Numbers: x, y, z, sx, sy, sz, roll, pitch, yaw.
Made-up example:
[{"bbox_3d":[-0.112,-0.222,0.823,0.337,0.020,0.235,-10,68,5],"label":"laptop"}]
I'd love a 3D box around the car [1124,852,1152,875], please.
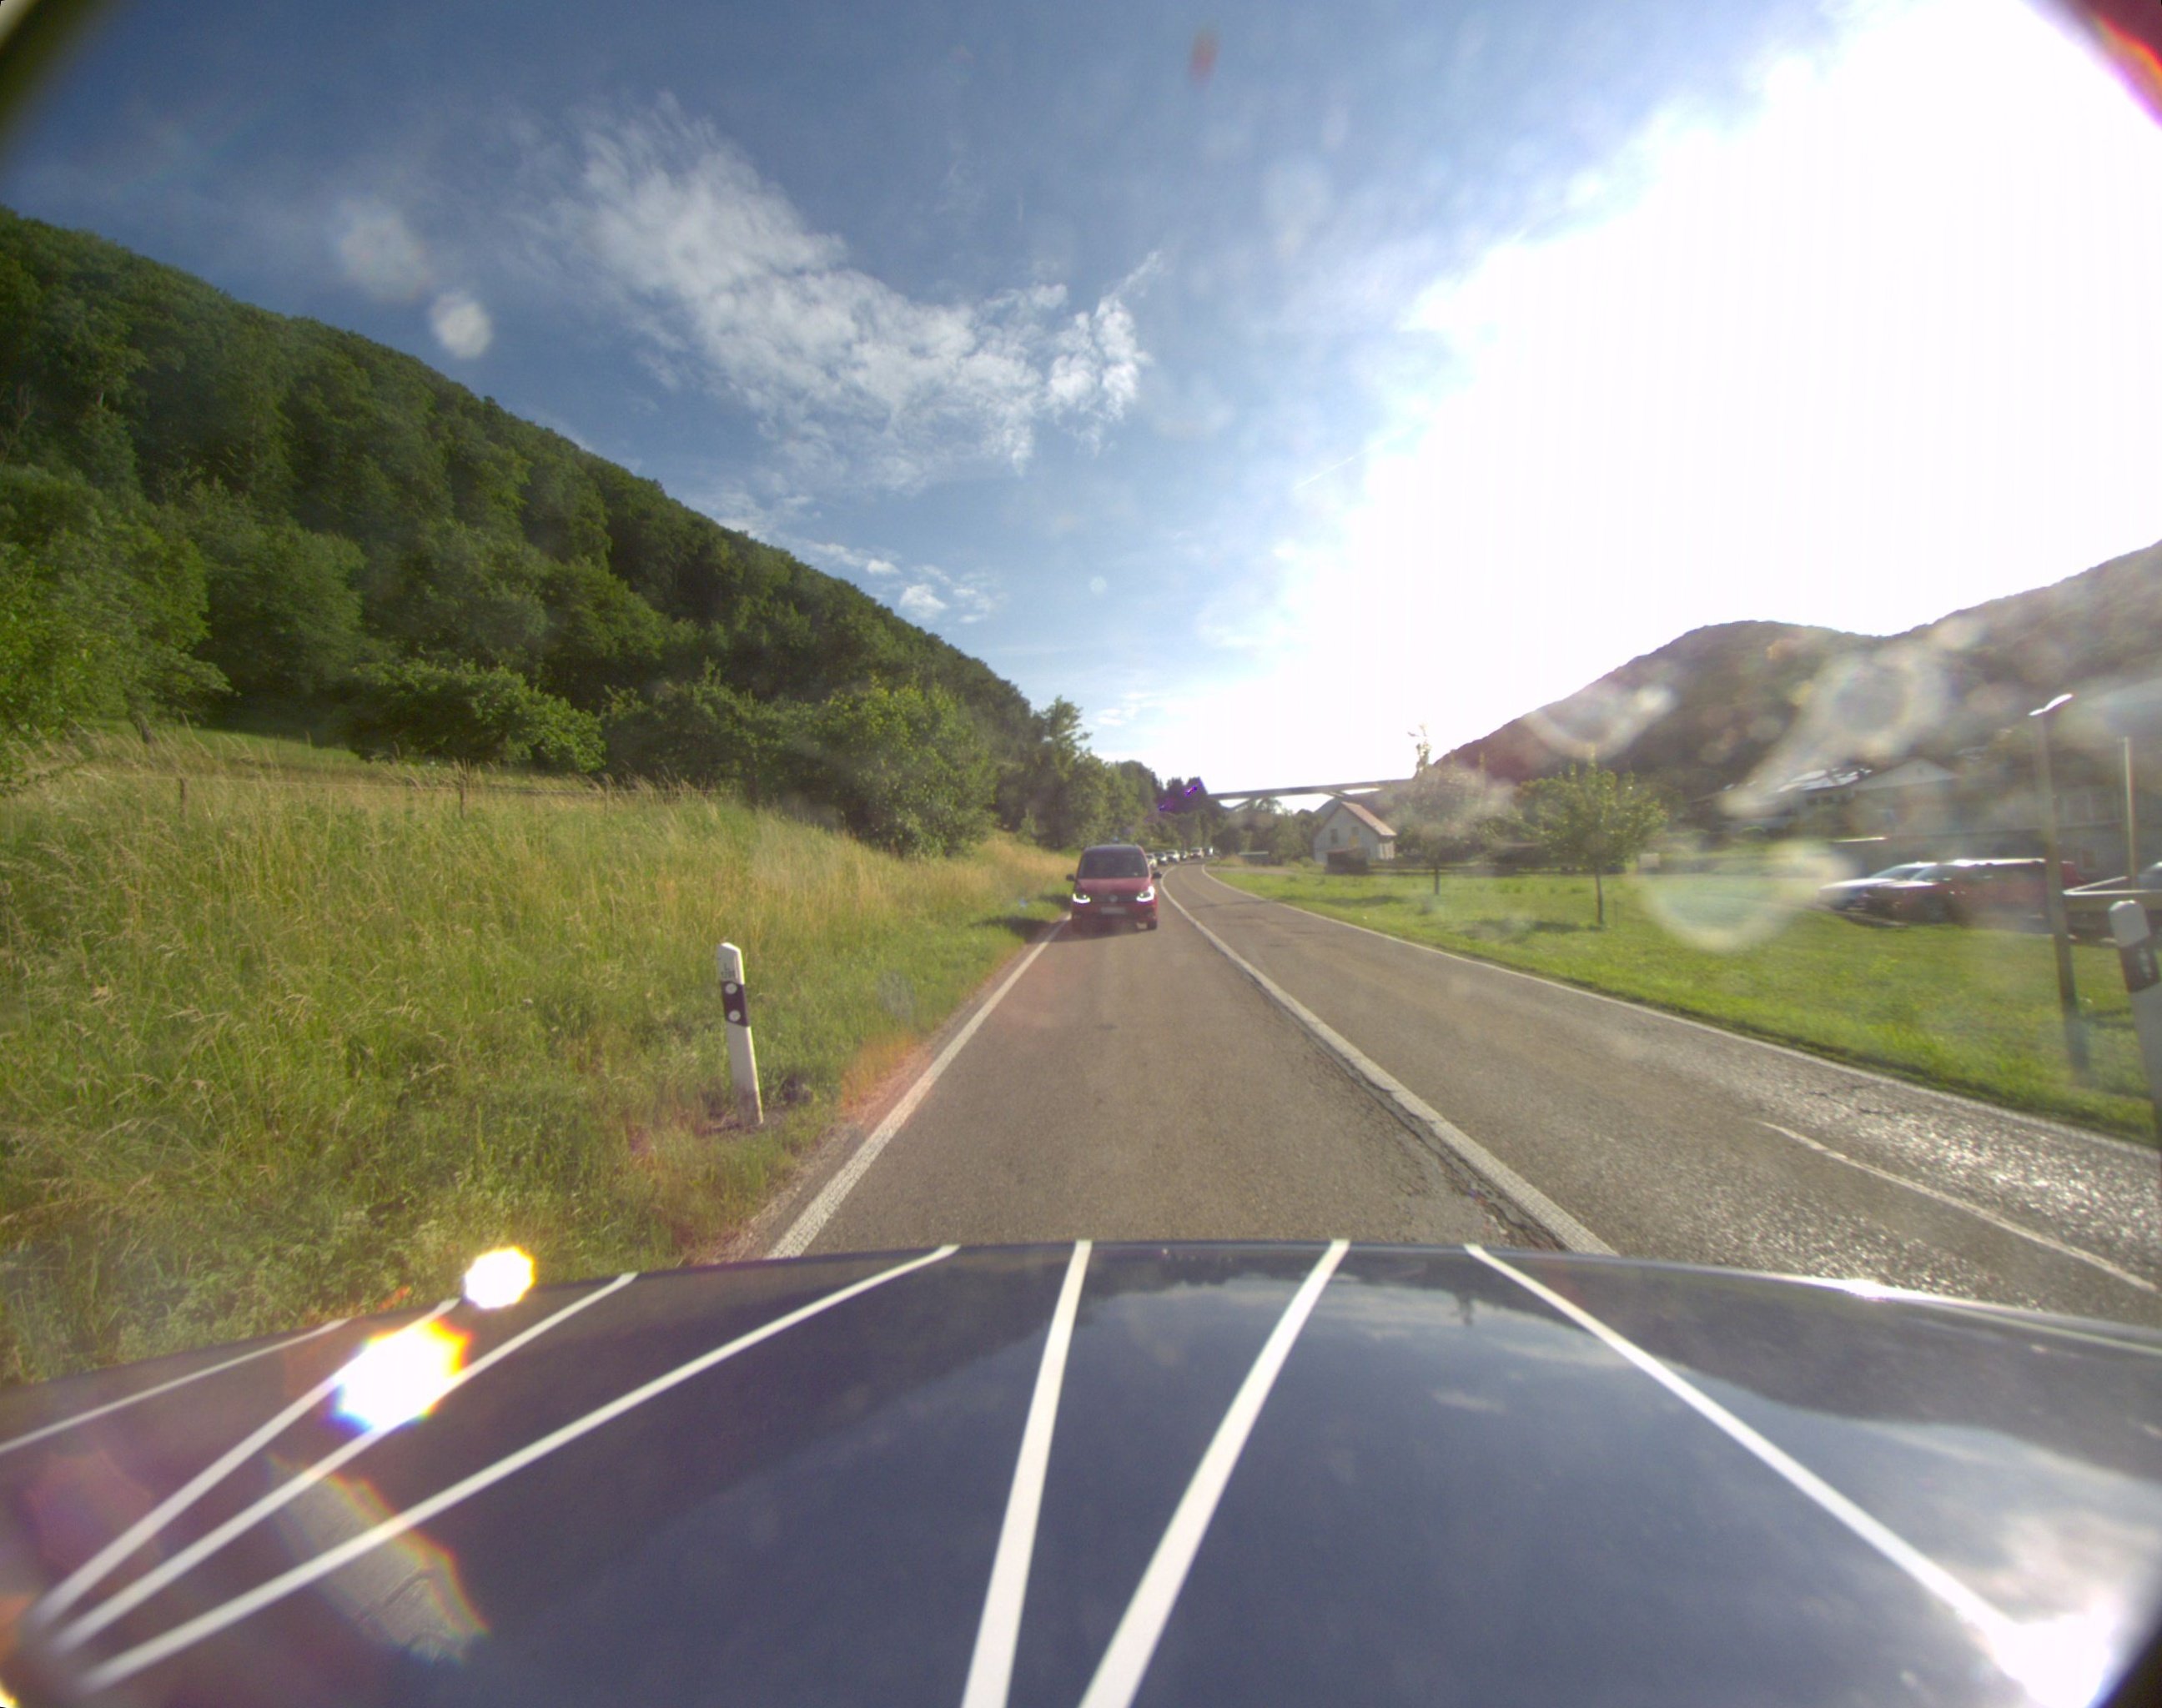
[{"bbox_3d":[4.038,0.640,53.424,1.629,1.470,3.681,-2,1,8],"label":"car"}]

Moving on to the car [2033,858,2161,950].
[{"bbox_3d":[24.176,1.002,16.159,5.000,1.783,1.686,-2,1,11],"label":"car"}]

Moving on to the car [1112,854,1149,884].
[{"bbox_3d":[2.732,0.785,41.230,1.629,1.470,3.681,-2,1,8],"label":"car"}]

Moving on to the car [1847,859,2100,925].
[{"bbox_3d":[25.082,1.063,21.567,4.327,1.659,1.850,-2,1,17],"label":"car"}]

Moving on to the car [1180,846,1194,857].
[{"bbox_3d":[15.039,-0.377,107.635,1.628,1.470,3.682,-2,1,12],"label":"car"}]

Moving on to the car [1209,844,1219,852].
[{"bbox_3d":[24.117,-1.083,137.347,1.628,1.470,3.682,-2,1,12],"label":"car"}]

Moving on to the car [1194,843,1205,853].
[{"bbox_3d":[19.390,-0.944,124.018,1.629,1.470,3.681,-2,1,7],"label":"car"}]

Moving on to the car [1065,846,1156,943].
[{"bbox_3d":[0.708,0.747,16.267,1.649,1.762,4.001,-2,1,4],"label":"car"}]

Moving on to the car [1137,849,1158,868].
[{"bbox_3d":[5.851,0.368,66.666,1.629,1.470,3.681,-2,1,8],"label":"car"}]

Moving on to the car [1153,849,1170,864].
[{"bbox_3d":[8.572,0.283,81.180,1.629,1.470,3.680,-2,1,5],"label":"car"}]

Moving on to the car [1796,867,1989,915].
[{"bbox_3d":[26.103,1.187,24.604,3.892,1.360,1.854,-1,1,14],"label":"car"}]

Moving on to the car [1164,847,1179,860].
[{"bbox_3d":[11.059,-0.094,93.033,1.629,1.470,3.680,-2,1,5],"label":"car"}]
